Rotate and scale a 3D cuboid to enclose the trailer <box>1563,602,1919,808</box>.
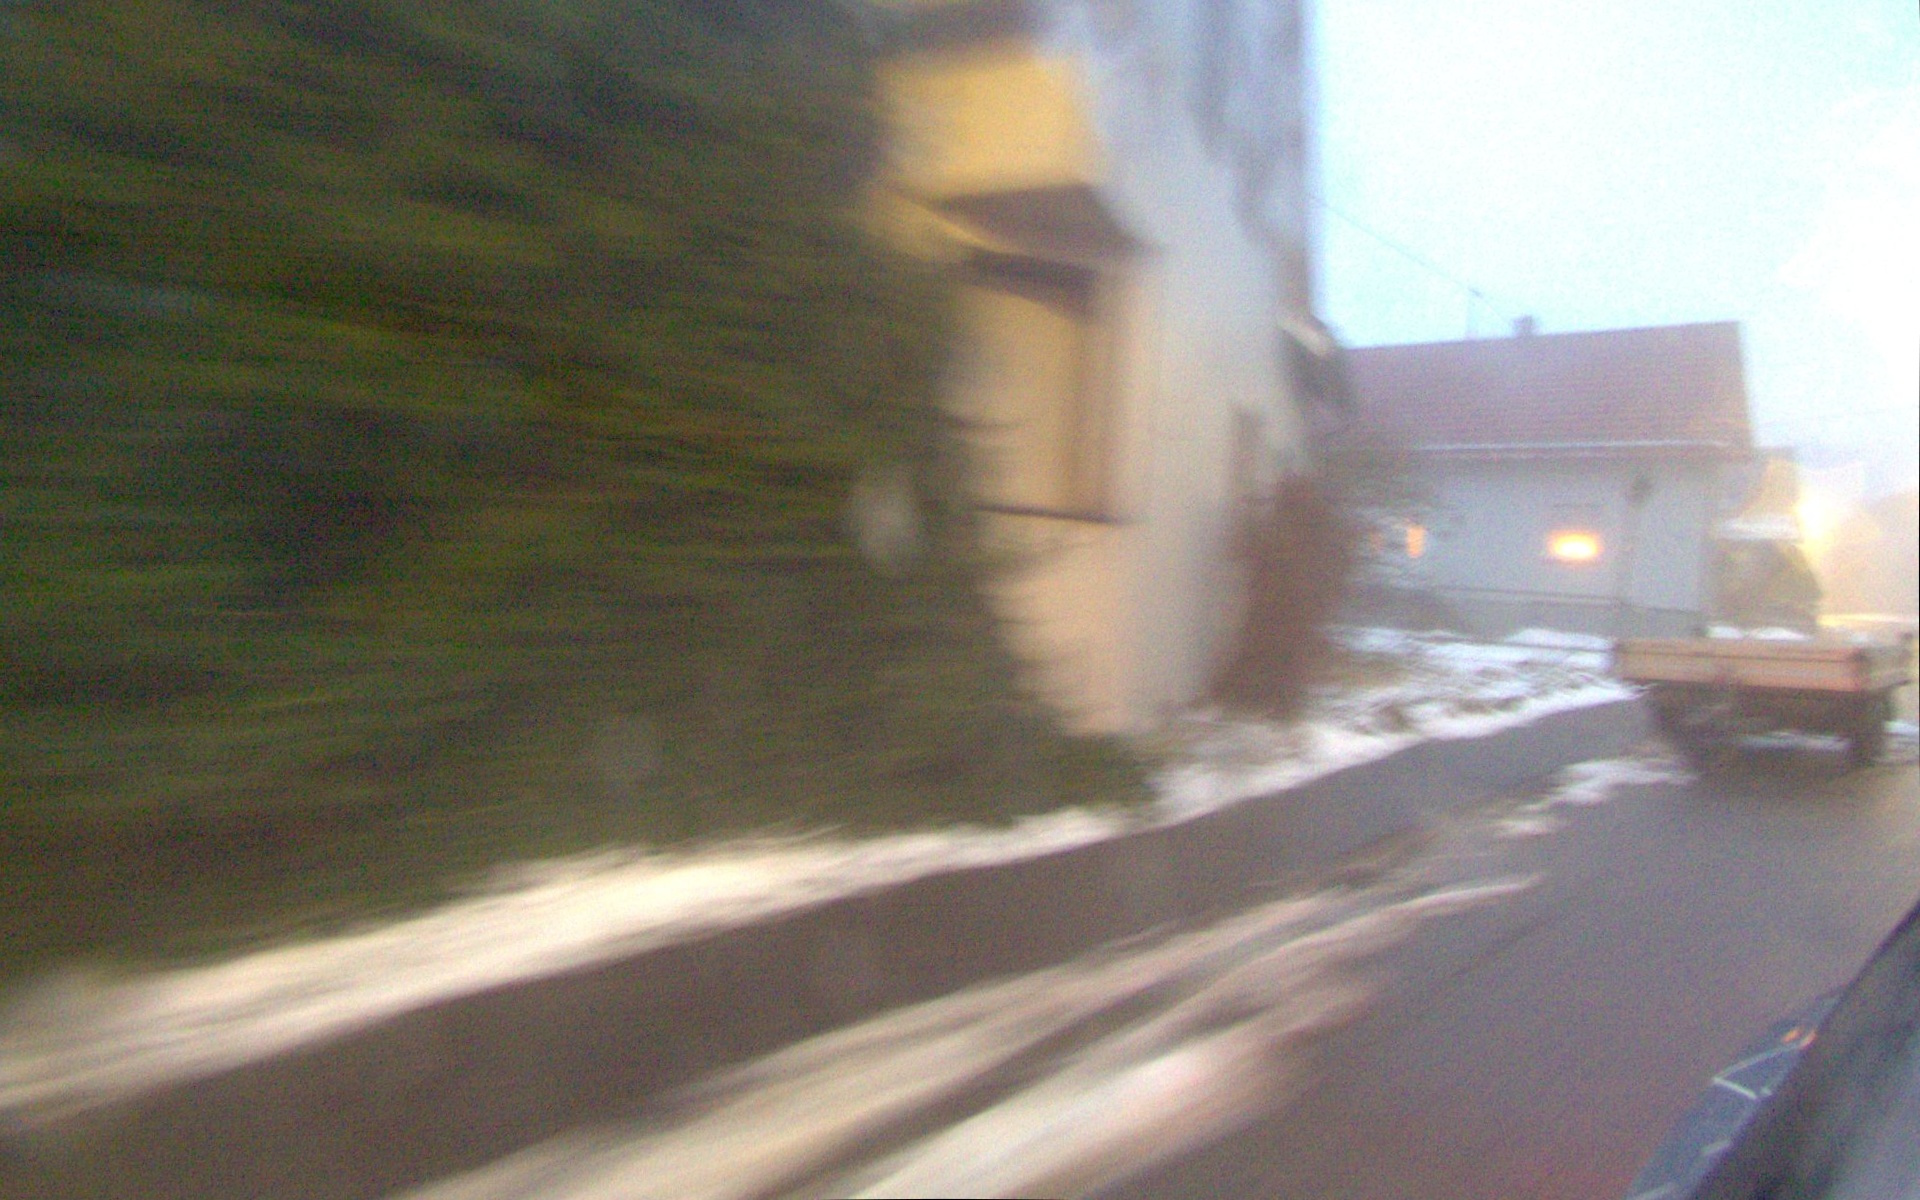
[{"bbox_3d":[7.540,0.747,9.459,4.650,1.405,1.996,0,1,-42],"label":"trailer"}]
